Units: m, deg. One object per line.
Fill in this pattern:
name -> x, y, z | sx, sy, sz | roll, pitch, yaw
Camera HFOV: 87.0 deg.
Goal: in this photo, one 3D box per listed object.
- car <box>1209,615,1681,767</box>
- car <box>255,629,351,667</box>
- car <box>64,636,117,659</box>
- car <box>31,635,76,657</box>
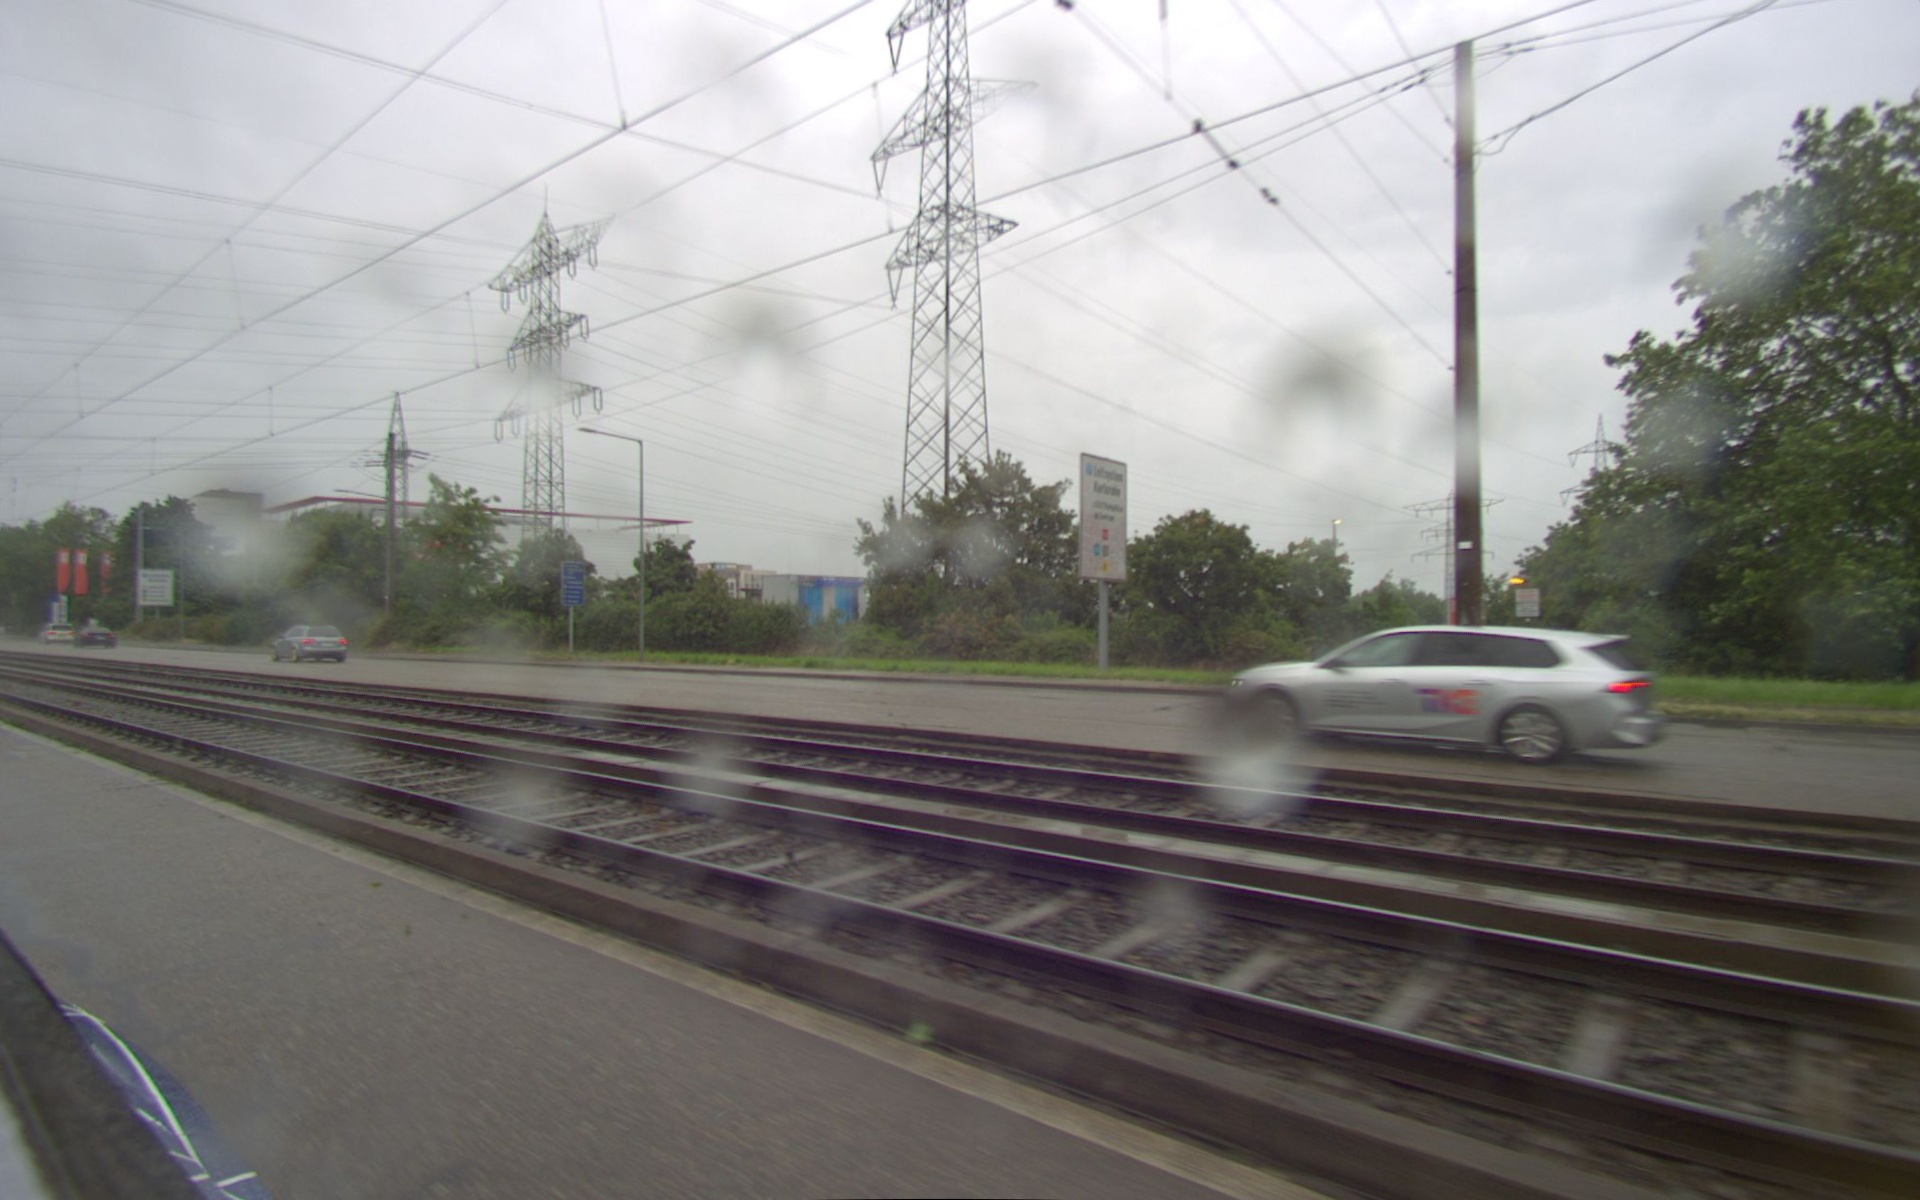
car -> 5.335, 0.931, 11.507 | 4.541, 1.364, 1.724 | -2, -1, 39
car -> -26.284, 1.923, 40.401 | 5.065, 1.373, 1.740 | -2, -1, 39
car -> -58.067, 3.172, 67.539 | 5.249, 1.475, 1.972 | -3, -4, 42
car -> -70.782, 3.576, 78.977 | 5.060, 1.586, 1.824 | -2, -1, 39
